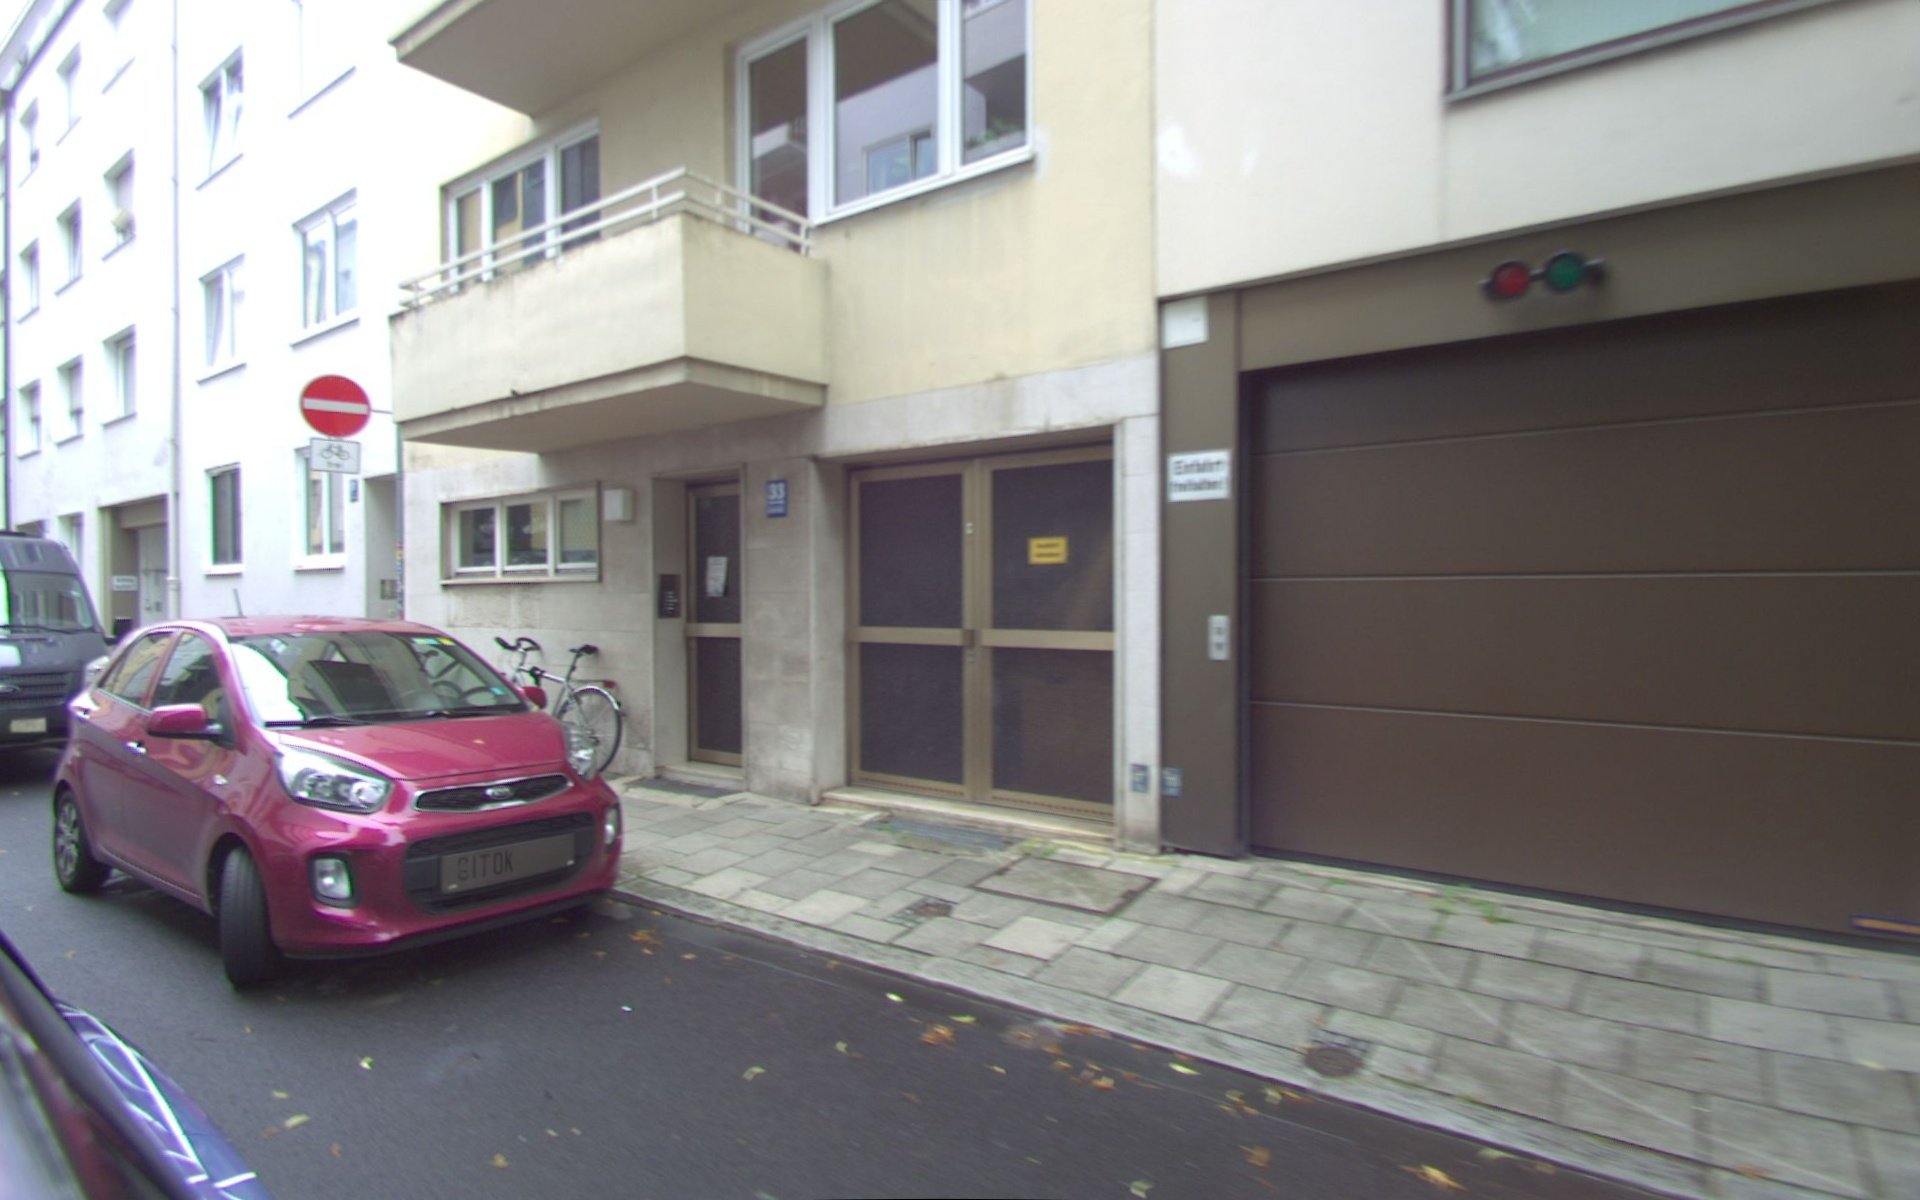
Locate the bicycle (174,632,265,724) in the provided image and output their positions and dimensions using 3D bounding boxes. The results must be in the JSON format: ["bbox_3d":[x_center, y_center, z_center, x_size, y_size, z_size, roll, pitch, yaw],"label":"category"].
[{"bbox_3d":[-9.822,0.995,13.396,1.867,1.106,0.459,-1,0,37],"label":"bicycle"}]

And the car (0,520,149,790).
[{"bbox_3d":[-10.325,0.474,10.209,5.380,2.296,2.000,0,-2,36],"label":"car"}]

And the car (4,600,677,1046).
[{"bbox_3d":[-3.296,0.772,5.166,3.700,1.508,1.606,-1,0,35],"label":"car"}]

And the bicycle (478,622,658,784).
[{"bbox_3d":[-3.154,0.763,8.062,1.757,1.157,0.463,-1,0,37],"label":"bicycle"}]

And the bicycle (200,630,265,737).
[{"bbox_3d":[-8.590,0.942,11.989,0.456,1.106,1.876,-1,1,-31],"label":"bicycle"}]

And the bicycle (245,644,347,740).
[{"bbox_3d":[-7.725,1.038,11.753,1.589,0.991,0.485,-1,0,37],"label":"bicycle"}]
